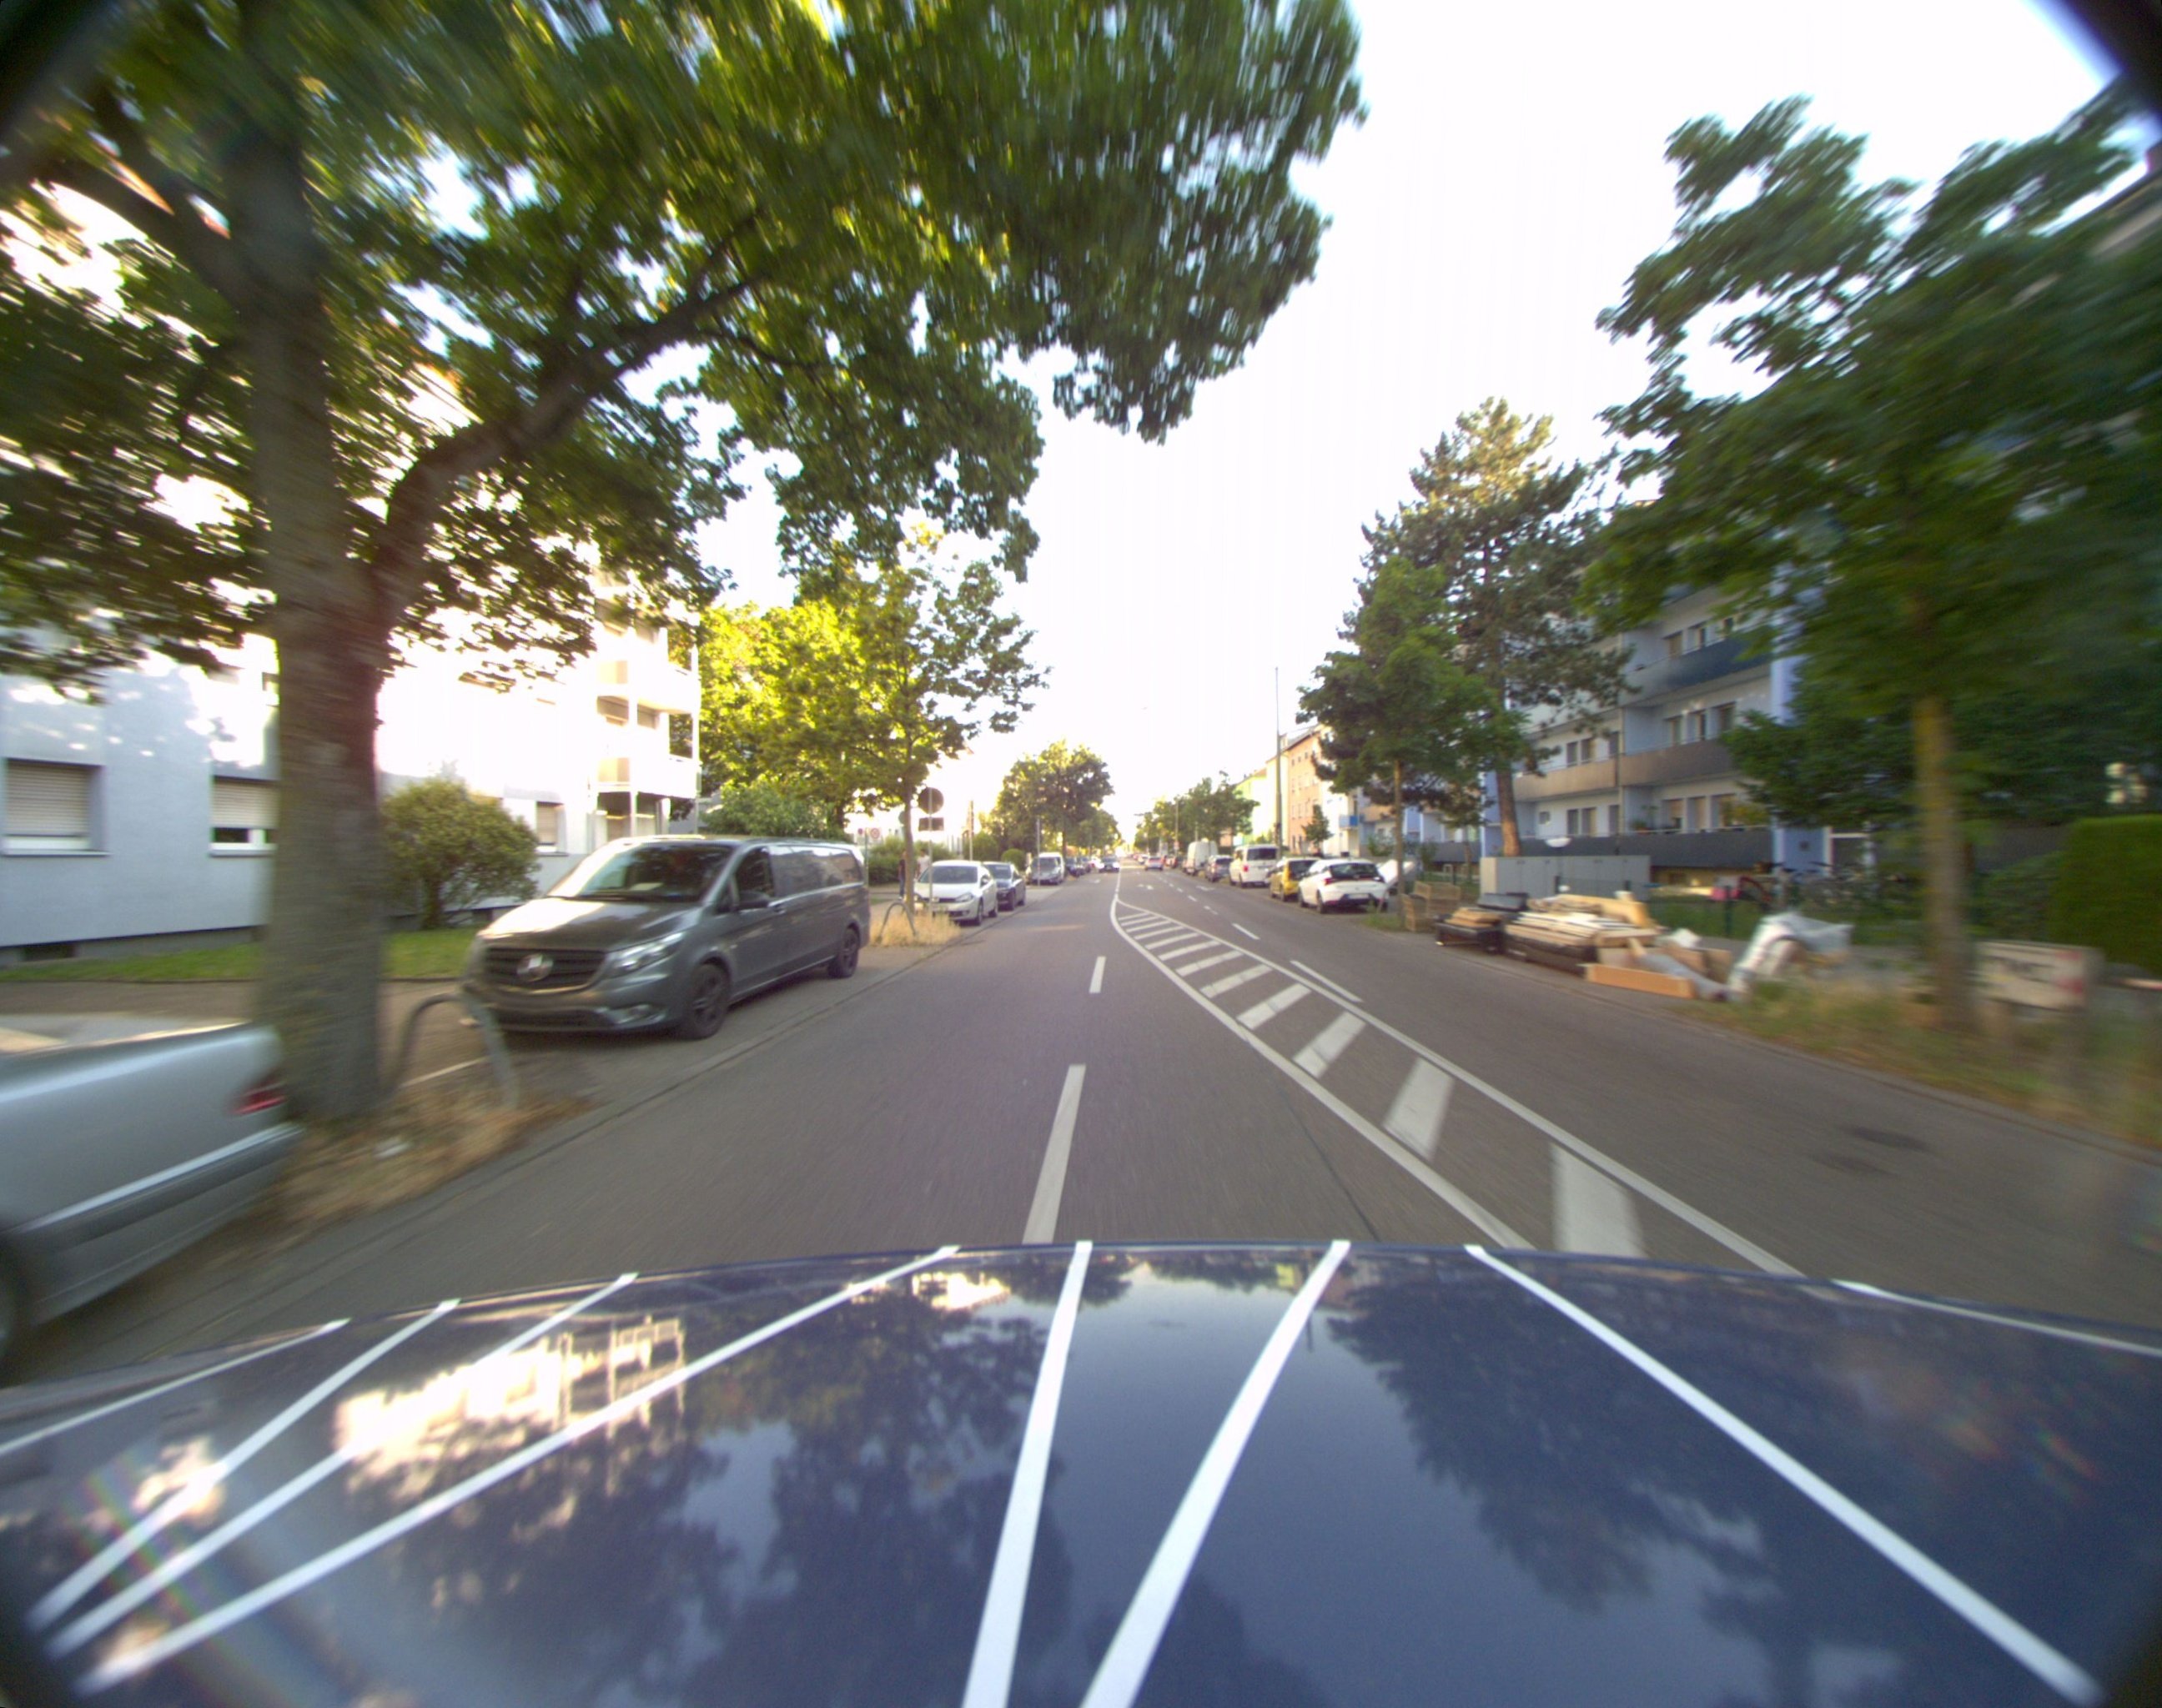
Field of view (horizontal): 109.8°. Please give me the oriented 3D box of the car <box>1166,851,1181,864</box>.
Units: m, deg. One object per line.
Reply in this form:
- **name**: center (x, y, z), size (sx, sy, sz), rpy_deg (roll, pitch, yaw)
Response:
- **car**: center (12.624, 0.477, 103.518), size (1.808, 1.587, 3.958), rpy_deg (-1, 0, 5)

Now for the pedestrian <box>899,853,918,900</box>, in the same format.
- **pedestrian**: center (-6.329, 0.823, 27.881), size (0.593, 1.718, 0.405), rpy_deg (-1, 1, 3)

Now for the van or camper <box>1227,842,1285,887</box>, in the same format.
- **van or camper**: center (8.400, 0.487, 36.869), size (1.808, 2.002, 4.865), rpy_deg (-1, 0, 2)

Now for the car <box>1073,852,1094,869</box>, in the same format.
- **car**: center (0.224, 0.580, 73.104), size (1.797, 1.558, 3.673), rpy_deg (1, 0, 3)

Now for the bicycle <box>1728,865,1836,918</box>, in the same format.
- **bicycle**: center (15.453, 0.795, 16.808), size (0.533, 1.089, 1.747), rpy_deg (-1, 0, -15)

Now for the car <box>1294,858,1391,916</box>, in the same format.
- **car**: center (7.302, 0.864, 21.597), size (1.683, 1.434, 3.882), rpy_deg (-2, 0, 5)

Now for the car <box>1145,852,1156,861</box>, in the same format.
- **car**: center (11.202, 0.362, 122.671), size (1.808, 1.390, 3.958), rpy_deg (-1, 0, 5)

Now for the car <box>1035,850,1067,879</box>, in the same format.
- **car**: center (-1.838, 0.612, 47.751), size (1.798, 1.761, 4.000), rpy_deg (1, 0, 1)

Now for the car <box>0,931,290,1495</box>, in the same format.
- **car**: center (-4.059, 1.059, 0.487), size (1.788, 1.495, 4.832), rpy_deg (-1, 0, 5)

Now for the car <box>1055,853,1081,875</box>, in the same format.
- **car**: center (-0.926, 0.724, 56.346), size (1.798, 1.558, 3.672), rpy_deg (1, 0, 1)

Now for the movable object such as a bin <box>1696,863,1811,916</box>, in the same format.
- **movable object such as a bin**: center (14.135, 0.738, 16.018), size (1.465, 1.043, 1.061), rpy_deg (-1, 1, 3)

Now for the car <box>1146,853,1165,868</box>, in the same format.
- **car**: center (7.570, 0.622, 77.769), size (1.726, 1.473, 3.957), rpy_deg (0, 0, 2)

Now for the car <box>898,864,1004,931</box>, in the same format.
- **car**: center (-3.059, 0.980, 18.708), size (1.738, 1.435, 4.305), rpy_deg (0, 0, 2)

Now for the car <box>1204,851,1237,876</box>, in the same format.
- **car**: center (9.254, 0.594, 50.660), size (1.808, 1.582, 3.958), rpy_deg (-1, 0, 5)

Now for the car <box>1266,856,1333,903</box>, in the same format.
- **car**: center (7.571, 0.848, 26.644), size (1.577, 1.460, 3.491), rpy_deg (-2, 0, 5)

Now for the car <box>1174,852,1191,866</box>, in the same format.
- **car**: center (10.938, 0.571, 81.631), size (1.762, 1.439, 3.592), rpy_deg (-1, 0, 8)

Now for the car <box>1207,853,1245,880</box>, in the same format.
- **car**: center (8.630, 0.738, 45.582), size (1.808, 1.489, 3.958), rpy_deg (-1, 0, 5)

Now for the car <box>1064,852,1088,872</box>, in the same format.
- **car**: center (-0.375, 0.665, 63.794), size (1.797, 1.558, 3.673), rpy_deg (1, 0, 3)

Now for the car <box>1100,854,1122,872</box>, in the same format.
- **car**: center (2.859, 0.832, 72.069), size (1.998, 1.525, 4.000), rpy_deg (-1, 0, 2)

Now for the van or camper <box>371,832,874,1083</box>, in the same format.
- **van or camper**: center (-4.120, 0.807, 8.227), size (1.998, 1.831, 5.261), rpy_deg (-1, -1, 4)

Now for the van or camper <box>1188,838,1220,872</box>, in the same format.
- **van or camper**: center (9.581, 0.059, 59.447), size (1.917, 2.528, 5.335), rpy_deg (-1, 0, 3)

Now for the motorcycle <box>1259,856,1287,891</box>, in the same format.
- **motorcycle**: center (8.124, 0.810, 32.040), size (0.792, 1.393, 2.021), rpy_deg (0, 1, 24)

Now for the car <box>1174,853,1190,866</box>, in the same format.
- **car**: center (11.353, 0.576, 85.570), size (1.762, 1.439, 3.787), rpy_deg (-1, 0, 8)

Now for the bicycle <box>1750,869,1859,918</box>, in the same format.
- **bicycle**: center (16.043, 0.848, 16.899), size (0.504, 0.983, 1.747), rpy_deg (-1, 0, -15)

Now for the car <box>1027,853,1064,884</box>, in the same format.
- **car**: center (-1.943, 0.763, 42.359), size (1.798, 1.577, 4.000), rpy_deg (1, 0, 1)

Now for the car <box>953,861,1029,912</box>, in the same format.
- **car**: center (-2.728, 0.961, 24.001), size (1.738, 1.435, 4.340), rpy_deg (0, 0, 2)
